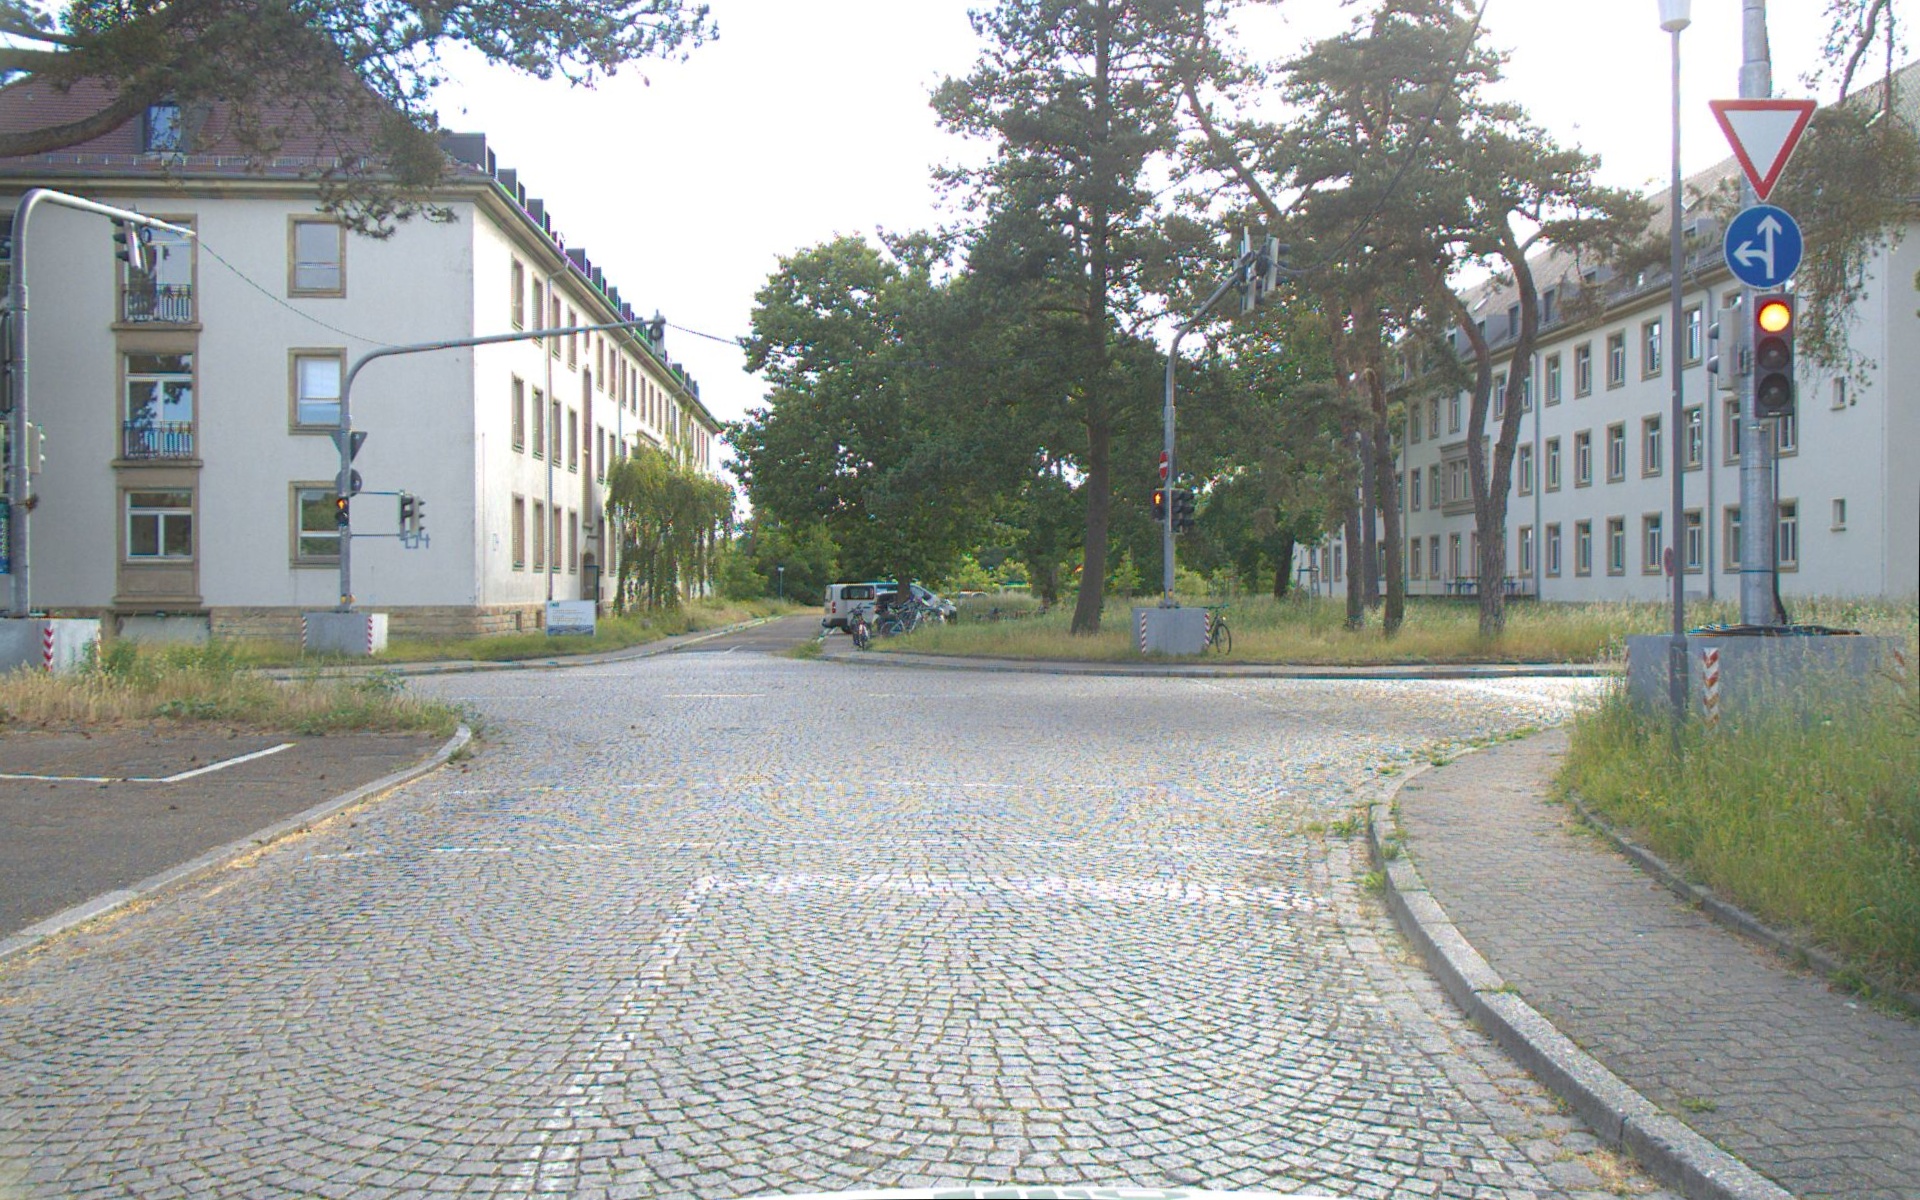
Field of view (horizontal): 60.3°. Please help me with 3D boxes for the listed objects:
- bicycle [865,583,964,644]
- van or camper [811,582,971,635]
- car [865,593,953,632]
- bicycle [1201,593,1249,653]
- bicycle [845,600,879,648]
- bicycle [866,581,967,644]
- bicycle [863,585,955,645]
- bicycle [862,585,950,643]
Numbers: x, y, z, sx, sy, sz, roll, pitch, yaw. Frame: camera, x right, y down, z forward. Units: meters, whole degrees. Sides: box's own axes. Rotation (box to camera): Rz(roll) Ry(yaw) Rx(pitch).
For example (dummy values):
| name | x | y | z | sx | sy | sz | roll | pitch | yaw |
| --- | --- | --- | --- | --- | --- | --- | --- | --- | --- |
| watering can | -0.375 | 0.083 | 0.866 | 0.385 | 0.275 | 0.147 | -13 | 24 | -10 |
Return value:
| name | x | y | z | sx | sy | sz | roll | pitch | yaw |
| --- | --- | --- | --- | --- | --- | --- | --- | --- | --- |
| bicycle | -1.321 | 0.372 | 47.622 | 2.725 | 1.724 | 1.117 | 0 | 0 | -11 |
| van or camper | -2.689 | 0.312 | 64.338 | 5.936 | 1.983 | 1.991 | 0 | 0 | -17 |
| car | -1.888 | 0.442 | 60.802 | 3.079 | 1.378 | 1.617 | 0 | 0 | -9 |
| bicycle | 5.589 | 0.472 | 35.008 | 0.709 | 1.189 | 2.738 | 1 | 0 | 3 |
| bicycle | -2.481 | 0.604 | 42.076 | 0.711 | 1.127 | 2.461 | -5 | 0 | -2 |
| bicycle | -1.235 | 0.348 | 46.431 | 2.724 | 1.724 | 1.118 | 0 | 0 | -9 |
| bicycle | -1.559 | 0.460 | 51.177 | 2.718 | 1.723 | 1.120 | 2 | 0 | 1 |
| bicycle | -1.711 | 0.441 | 52.508 | 2.720 | 1.723 | 1.120 | 2 | 0 | -2 |
